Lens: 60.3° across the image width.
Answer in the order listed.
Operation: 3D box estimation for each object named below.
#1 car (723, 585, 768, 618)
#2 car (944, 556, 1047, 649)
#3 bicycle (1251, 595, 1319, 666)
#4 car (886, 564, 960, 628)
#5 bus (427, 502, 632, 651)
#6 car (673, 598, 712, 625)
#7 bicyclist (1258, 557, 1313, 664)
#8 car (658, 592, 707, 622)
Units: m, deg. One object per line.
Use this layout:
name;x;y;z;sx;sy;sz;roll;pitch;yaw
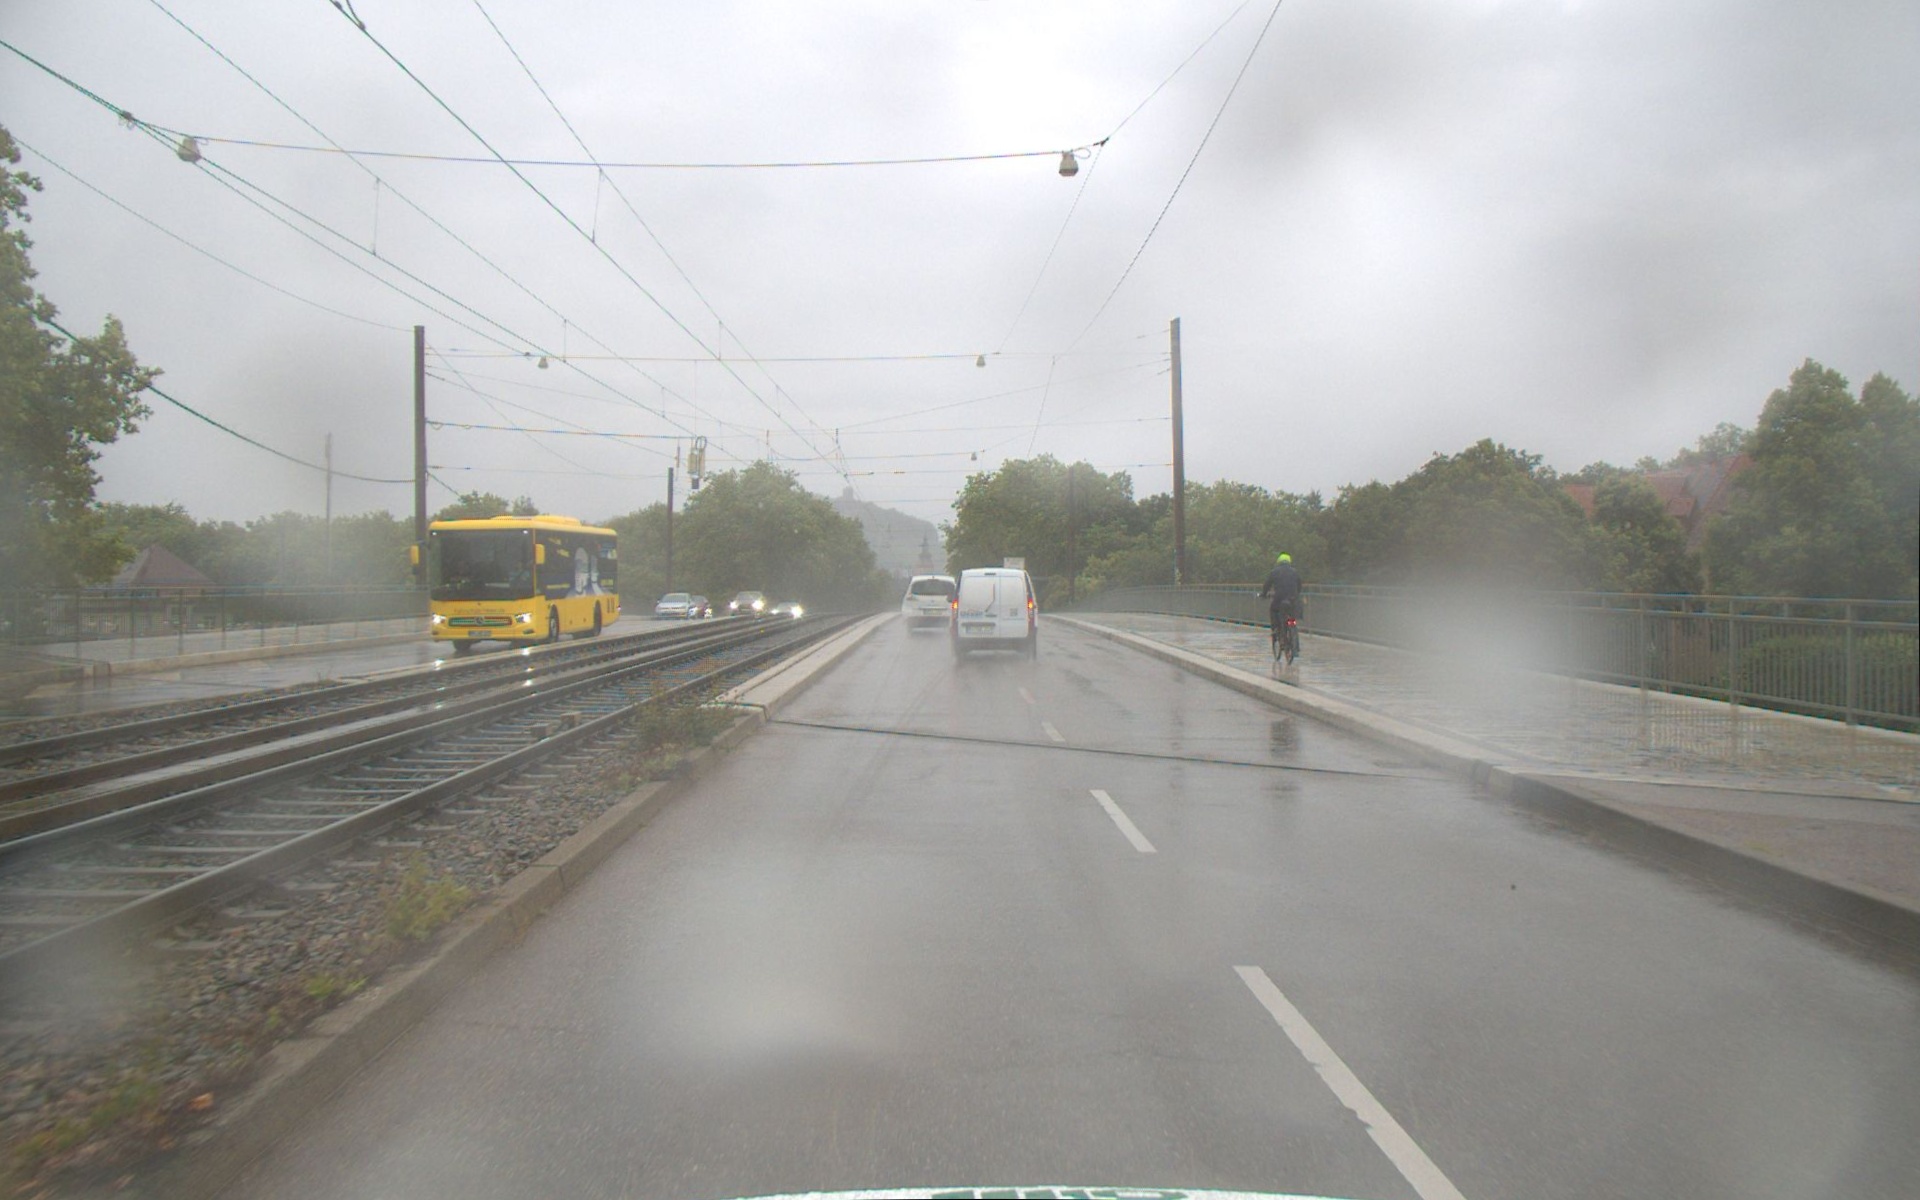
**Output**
car;-12.190;0.118;94.285;1.953;1.747;4.940;-2;-1;-1
car;0.737;0.086;33.831;1.952;1.757;4.000;1;-1;2
bicycle;5.555;0.506;28.351;0.708;1.149;2.167;1;0;0
car;-1.039;-0.090;48.573;1.952;1.747;4.000;1;-1;2
bus;-11.211;-0.680;44.403;2.653;3.399;10.992;-2;1;-1
car;-15.318;0.674;94.797;1.587;1.481;4.321;-2;-1;-1
bicyclist;5.553;0.185;28.236;0.710;1.795;0.949;1;-1;-1
car;-15.002;0.403;89.536;1.953;1.481;4.618;-2;-1;-1
